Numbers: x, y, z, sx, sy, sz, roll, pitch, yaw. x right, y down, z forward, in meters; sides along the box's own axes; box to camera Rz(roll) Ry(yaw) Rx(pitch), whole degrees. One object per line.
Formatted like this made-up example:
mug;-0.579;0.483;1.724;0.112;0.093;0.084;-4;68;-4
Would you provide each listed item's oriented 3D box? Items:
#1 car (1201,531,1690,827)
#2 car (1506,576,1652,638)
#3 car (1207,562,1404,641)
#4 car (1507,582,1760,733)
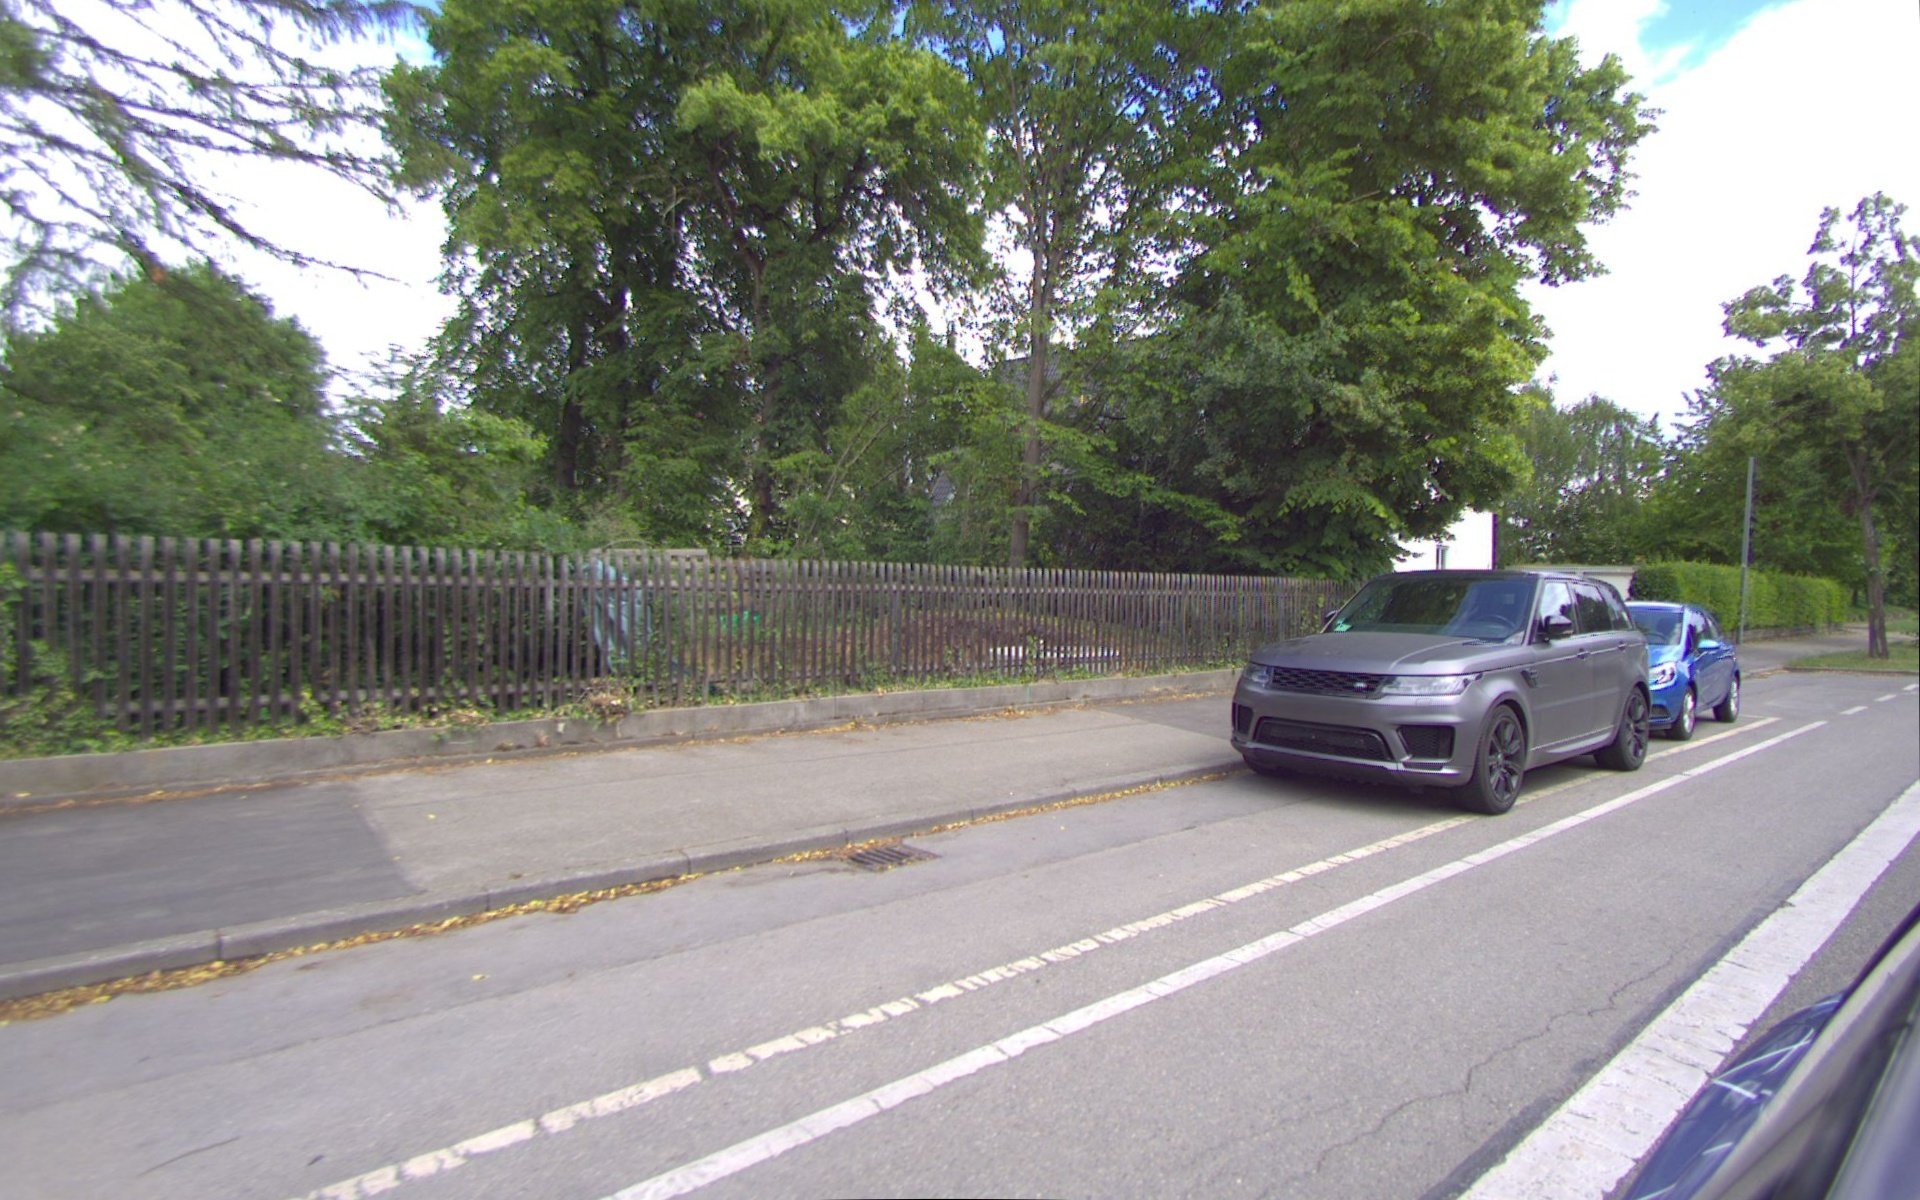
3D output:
car;4.309;0.446;8.595;4.742;1.838;1.997;-1;1;-41
car;16.821;0.183;27.541;3.151;1.587;1.655;1;1;-16
car;7.961;0.011;23.602;3.925;1.681;1.816;1;1;1
car;8.201;0.552;12.189;3.855;1.520;1.687;-1;1;-43
